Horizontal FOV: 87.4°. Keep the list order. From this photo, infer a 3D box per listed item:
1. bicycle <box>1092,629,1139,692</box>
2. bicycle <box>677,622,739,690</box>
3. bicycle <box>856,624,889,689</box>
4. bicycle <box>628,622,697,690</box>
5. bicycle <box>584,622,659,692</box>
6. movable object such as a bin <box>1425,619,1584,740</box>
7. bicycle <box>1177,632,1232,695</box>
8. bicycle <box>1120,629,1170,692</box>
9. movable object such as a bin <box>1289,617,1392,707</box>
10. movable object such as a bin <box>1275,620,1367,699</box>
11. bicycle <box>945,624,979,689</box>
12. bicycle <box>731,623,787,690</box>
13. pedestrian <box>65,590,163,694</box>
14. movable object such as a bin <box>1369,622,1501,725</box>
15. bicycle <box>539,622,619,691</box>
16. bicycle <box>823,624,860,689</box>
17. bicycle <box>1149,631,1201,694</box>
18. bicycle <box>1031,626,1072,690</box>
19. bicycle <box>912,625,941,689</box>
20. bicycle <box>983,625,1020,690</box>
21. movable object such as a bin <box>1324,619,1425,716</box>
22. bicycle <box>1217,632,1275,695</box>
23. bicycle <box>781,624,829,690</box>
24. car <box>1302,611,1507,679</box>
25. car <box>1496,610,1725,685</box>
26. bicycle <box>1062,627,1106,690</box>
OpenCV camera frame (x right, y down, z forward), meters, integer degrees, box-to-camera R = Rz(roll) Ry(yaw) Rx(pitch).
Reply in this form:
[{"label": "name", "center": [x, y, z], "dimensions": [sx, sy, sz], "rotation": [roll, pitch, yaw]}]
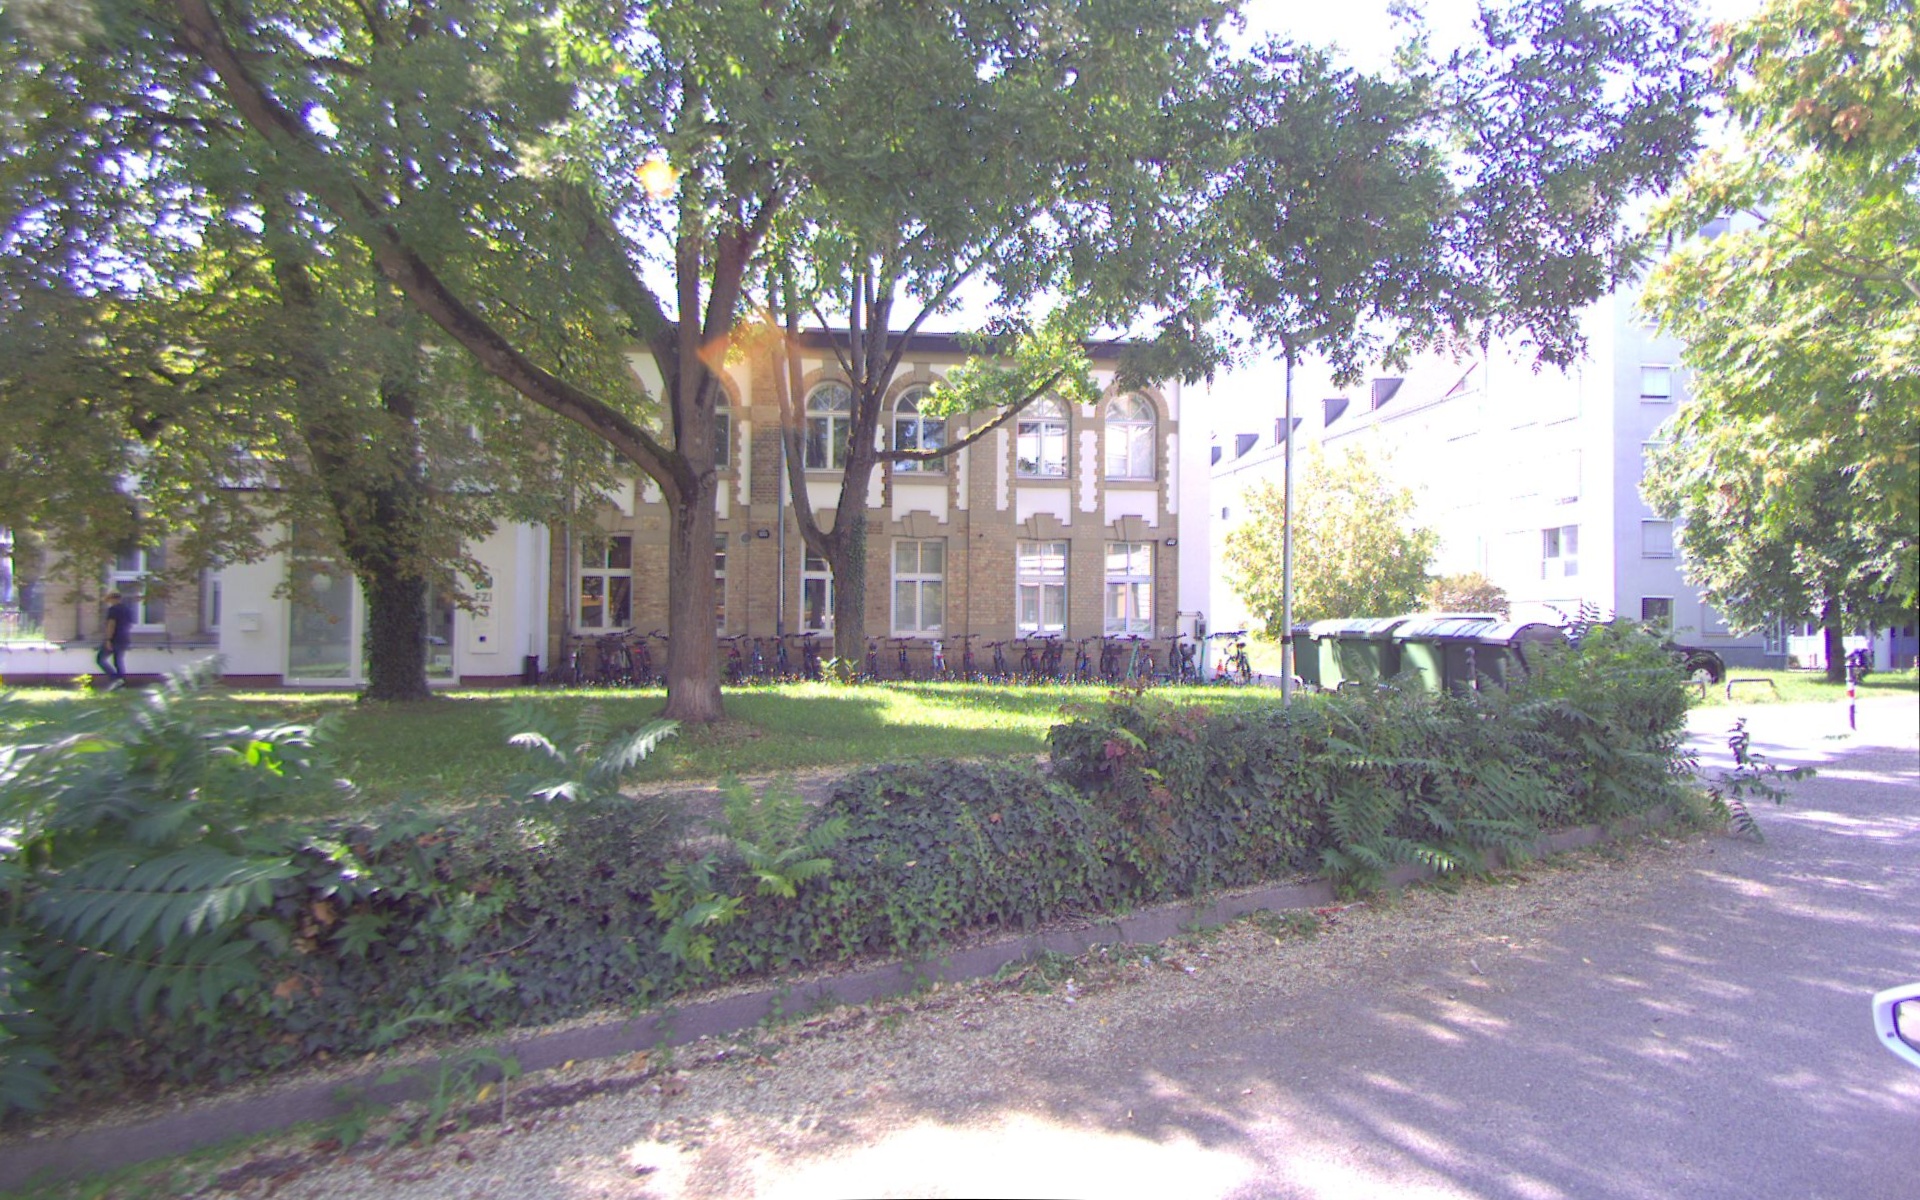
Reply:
[{"label": "bicycle", "center": [3.369, 1.299, 21.914], "dimensions": [0.597, 1.319, 2.173], "rotation": [0, -2, -3]}, {"label": "bicycle", "center": [-5.183, 1.148, 20.811], "dimensions": [0.757, 1.319, 2.526], "rotation": [0, -2, -3]}, {"label": "bicycle", "center": [-1.862, 1.192, 21.511], "dimensions": [0.597, 1.319, 2.173], "rotation": [0, -2, -3]}, {"label": "bicycle", "center": [-6.060, 1.132, 20.621], "dimensions": [0.757, 1.319, 2.526], "rotation": [0, -2, -3]}, {"label": "bicycle", "center": [-6.837, 1.135, 20.405], "dimensions": [0.757, 1.319, 2.526], "rotation": [0, -2, -3]}, {"label": "movable object such as a bin", "center": [7.279, 1.017, 13.487], "dimensions": [1.316, 1.513, 1.366], "rotation": [1, -1, -21]}, {"label": "bicycle", "center": [5.374, 1.372, 22.188], "dimensions": [0.597, 1.319, 2.173], "rotation": [0, -2, -3]}, {"label": "bicycle", "center": [4.032, 1.309, 22.071], "dimensions": [0.597, 1.319, 2.173], "rotation": [0, -2, -3]}, {"label": "movable object such as a bin", "center": [6.678, 1.072, 17.681], "dimensions": [1.228, 1.515, 1.204], "rotation": [1, -1, -12]}, {"label": "movable object such as a bin", "center": [6.977, 1.122, 19.449], "dimensions": [1.228, 1.463, 1.204], "rotation": [1, -1, -12]}, {"label": "bicycle", "center": [0.026, 1.203, 21.605], "dimensions": [0.597, 1.319, 2.173], "rotation": [0, -2, -3]}, {"label": "bicycle", "center": [-4.204, 1.175, 21.194], "dimensions": [0.757, 1.319, 2.526], "rotation": [0, -2, -3]}, {"label": "pedestrian", "center": [-15.391, 0.750, 18.298], "dimensions": [1.109, 1.852, 0.735], "rotation": [0, -1, -6]}, {"label": "movable object such as a bin", "center": [7.090, 1.069, 15.069], "dimensions": [1.228, 1.451, 1.329], "rotation": [1, -1, -13]}, {"label": "bicycle", "center": [-7.714, 1.126, 20.480], "dimensions": [0.757, 1.319, 2.526], "rotation": [0, -2, -3]}, {"label": "bicycle", "center": [-2.506, 1.184, 21.425], "dimensions": [0.615, 1.319, 2.273], "rotation": [0, -2, -3]}, {"label": "bicycle", "center": [4.704, 1.349, 22.136], "dimensions": [0.597, 1.319, 2.173], "rotation": [0, -2, -3]}, {"label": "bicycle", "center": [1.958, 1.237, 21.762], "dimensions": [0.597, 1.319, 2.173], "rotation": [0, -2, -3]}, {"label": "bicycle", "center": [-0.739, 1.211, 21.726], "dimensions": [0.597, 1.319, 2.173], "rotation": [0, -2, -3]}, {"label": "bicycle", "center": [0.873, 1.228, 21.714], "dimensions": [0.597, 1.319, 2.173], "rotation": [0, -2, -3]}, {"label": "movable object such as a bin", "center": [6.685, 1.063, 16.247], "dimensions": [1.082, 1.501, 1.099], "rotation": [1, -1, -12]}, {"label": "bicycle", "center": [6.339, 1.386, 22.376], "dimensions": [0.597, 1.319, 2.173], "rotation": [0, -2, -3]}, {"label": "bicycle", "center": [-3.263, 1.181, 21.292], "dimensions": [0.757, 1.319, 2.273], "rotation": [0, -2, -3]}, {"label": "car", "center": [13.065, 1.324, 29.754], "dimensions": [4.987, 1.906, 2.501], "rotation": [0, -1, -4]}, {"label": "car", "center": [13.941, 1.010, 21.662], "dimensions": [3.835, 1.548, 1.708], "rotation": [0, -1, 0]}, {"label": "bicycle", "center": [2.693, 1.262, 21.968], "dimensions": [0.597, 1.319, 2.173], "rotation": [0, -2, -3]}]
